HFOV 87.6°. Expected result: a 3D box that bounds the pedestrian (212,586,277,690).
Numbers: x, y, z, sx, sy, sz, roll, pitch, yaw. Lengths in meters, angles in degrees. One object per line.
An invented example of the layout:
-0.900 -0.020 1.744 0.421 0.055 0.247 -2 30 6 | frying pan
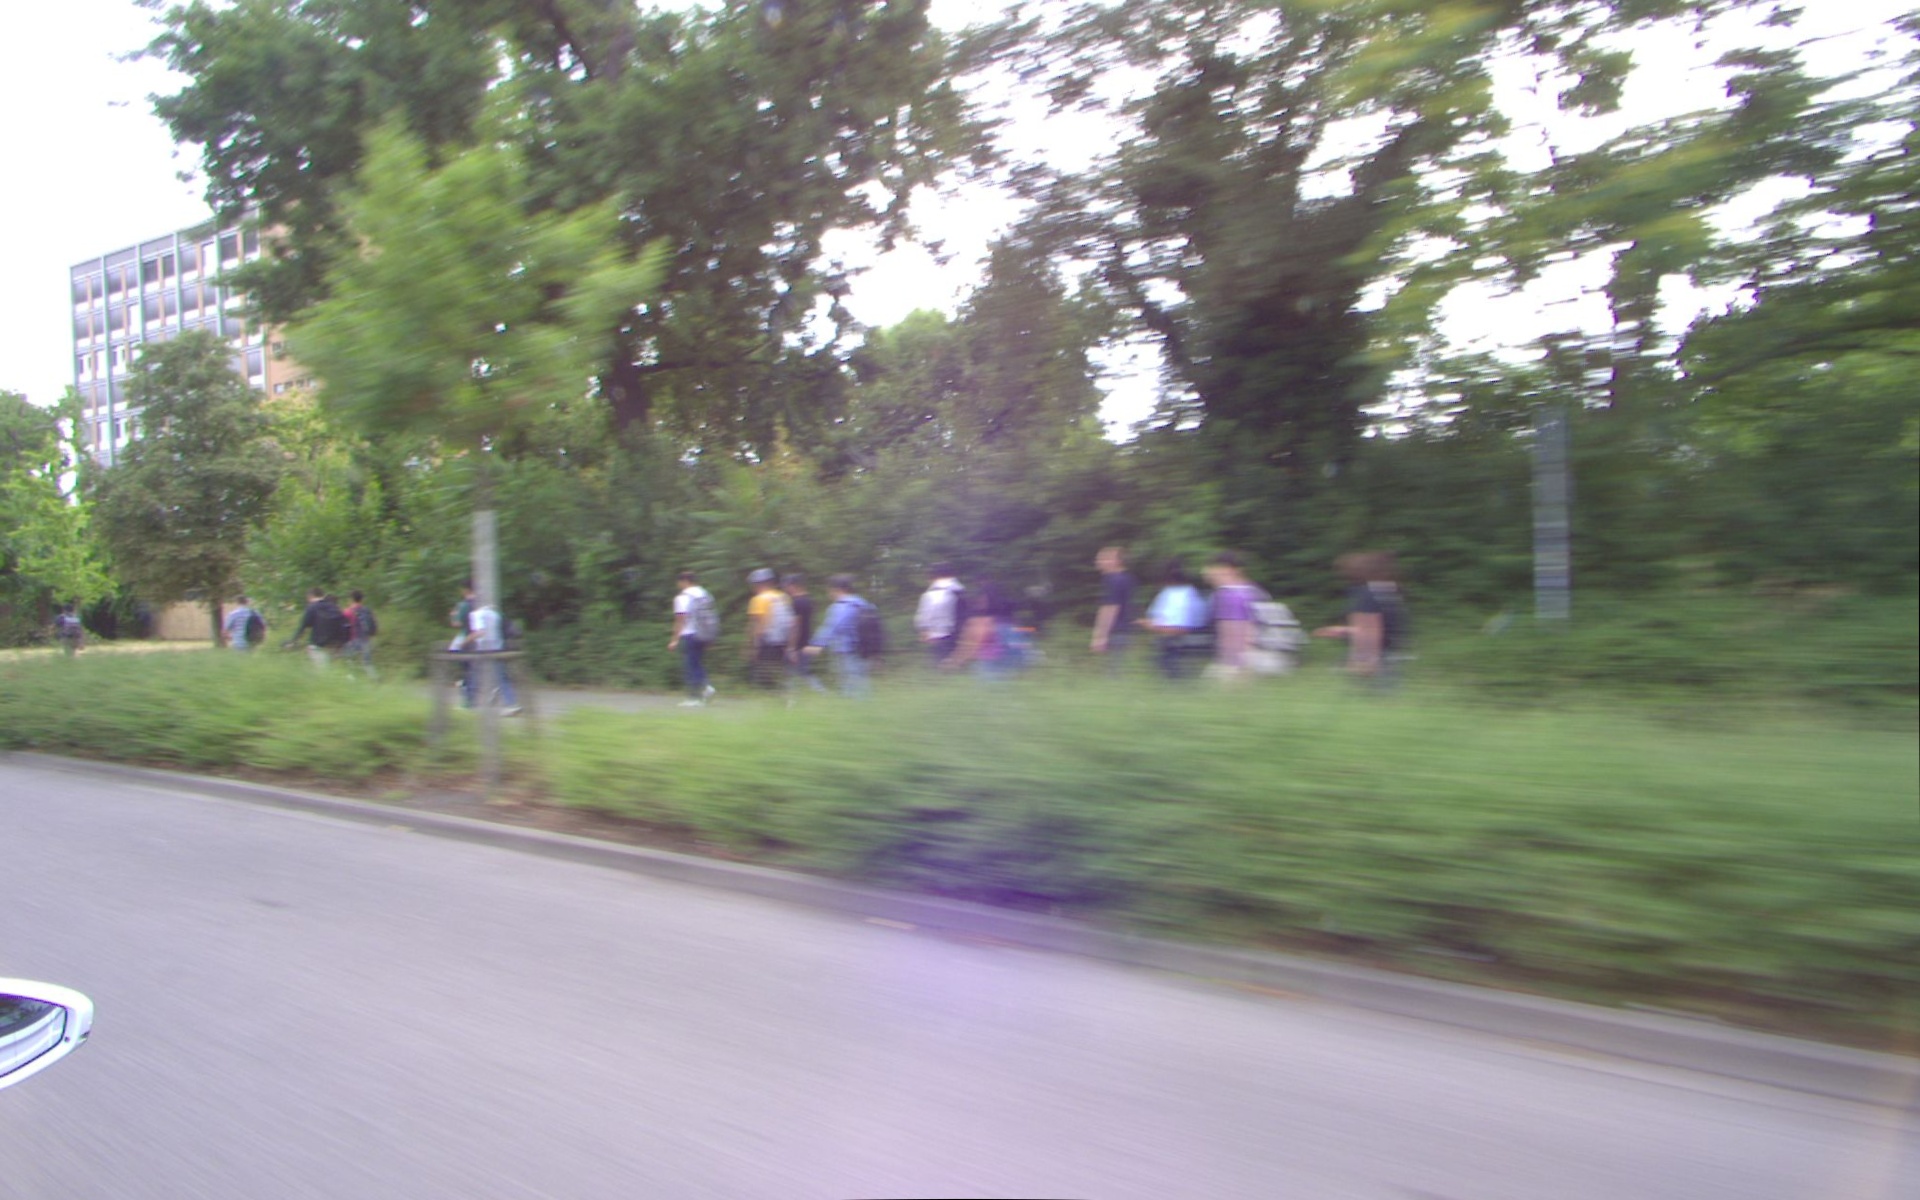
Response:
-12.470 0.650 17.461 0.802 1.759 0.618 0 1 31 | pedestrian

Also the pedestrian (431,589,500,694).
-7.759 0.638 15.714 0.774 1.605 0.634 0 1 31 | pedestrian

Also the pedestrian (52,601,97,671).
-21.843 0.882 24.701 0.737 1.705 0.586 0 1 31 | pedestrian

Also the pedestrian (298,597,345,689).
-11.796 0.778 18.494 0.643 1.655 0.467 0 1 31 | pedestrian

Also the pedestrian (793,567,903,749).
-1.072 0.532 9.652 0.800 1.670 0.656 0 1 29 | pedestrian

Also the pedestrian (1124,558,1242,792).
1.785 0.571 8.003 0.777 1.768 0.580 0 1 29 | pedestrian

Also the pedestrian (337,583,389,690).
-10.170 0.613 17.059 0.654 1.787 0.483 0 1 31 | pedestrian

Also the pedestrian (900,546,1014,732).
-0.028 0.382 10.181 0.943 1.790 0.656 0 1 29 | pedestrian

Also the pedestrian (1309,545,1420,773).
3.323 0.460 8.207 0.768 1.768 0.656 0 1 29 | pedestrian

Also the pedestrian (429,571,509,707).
-6.905 0.535 14.083 0.800 1.846 0.654 0 1 31 | pedestrian

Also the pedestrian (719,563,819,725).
-2.098 0.465 11.022 0.829 1.712 0.656 0 1 29 | pedestrian

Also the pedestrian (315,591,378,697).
-9.951 0.700 16.249 0.742 1.677 0.554 0 1 31 | pedestrian

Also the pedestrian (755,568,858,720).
-1.774 0.488 11.620 0.956 1.689 0.656 0 1 29 | pedestrian

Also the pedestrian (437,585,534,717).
-6.059 0.629 12.800 0.800 1.624 0.774 0 1 31 | pedestrian

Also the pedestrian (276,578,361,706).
-9.641 0.612 15.052 0.940 1.846 0.691 0 1 31 | pedestrian

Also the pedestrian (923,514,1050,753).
0.215 0.254 7.870 0.768 1.768 0.656 0 1 29 | pedestrian

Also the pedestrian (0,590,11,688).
-18.624 0.740 18.819 0.924 1.855 0.882 -1 1 -32 | pedestrian

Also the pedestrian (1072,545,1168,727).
1.630 0.353 10.169 0.768 1.768 0.656 0 1 29 | pedestrian

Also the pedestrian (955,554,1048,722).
0.448 0.389 10.705 0.768 1.722 0.656 0 1 29 | pedestrian

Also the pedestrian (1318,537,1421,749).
3.618 0.360 8.829 0.768 1.768 0.656 0 1 29 | pedestrian

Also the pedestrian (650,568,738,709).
-3.460 0.486 13.041 0.800 1.768 0.720 0 1 31 | pedestrian

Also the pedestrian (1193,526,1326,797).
2.100 0.406 7.005 0.768 1.768 0.623 0 1 29 | pedestrian
